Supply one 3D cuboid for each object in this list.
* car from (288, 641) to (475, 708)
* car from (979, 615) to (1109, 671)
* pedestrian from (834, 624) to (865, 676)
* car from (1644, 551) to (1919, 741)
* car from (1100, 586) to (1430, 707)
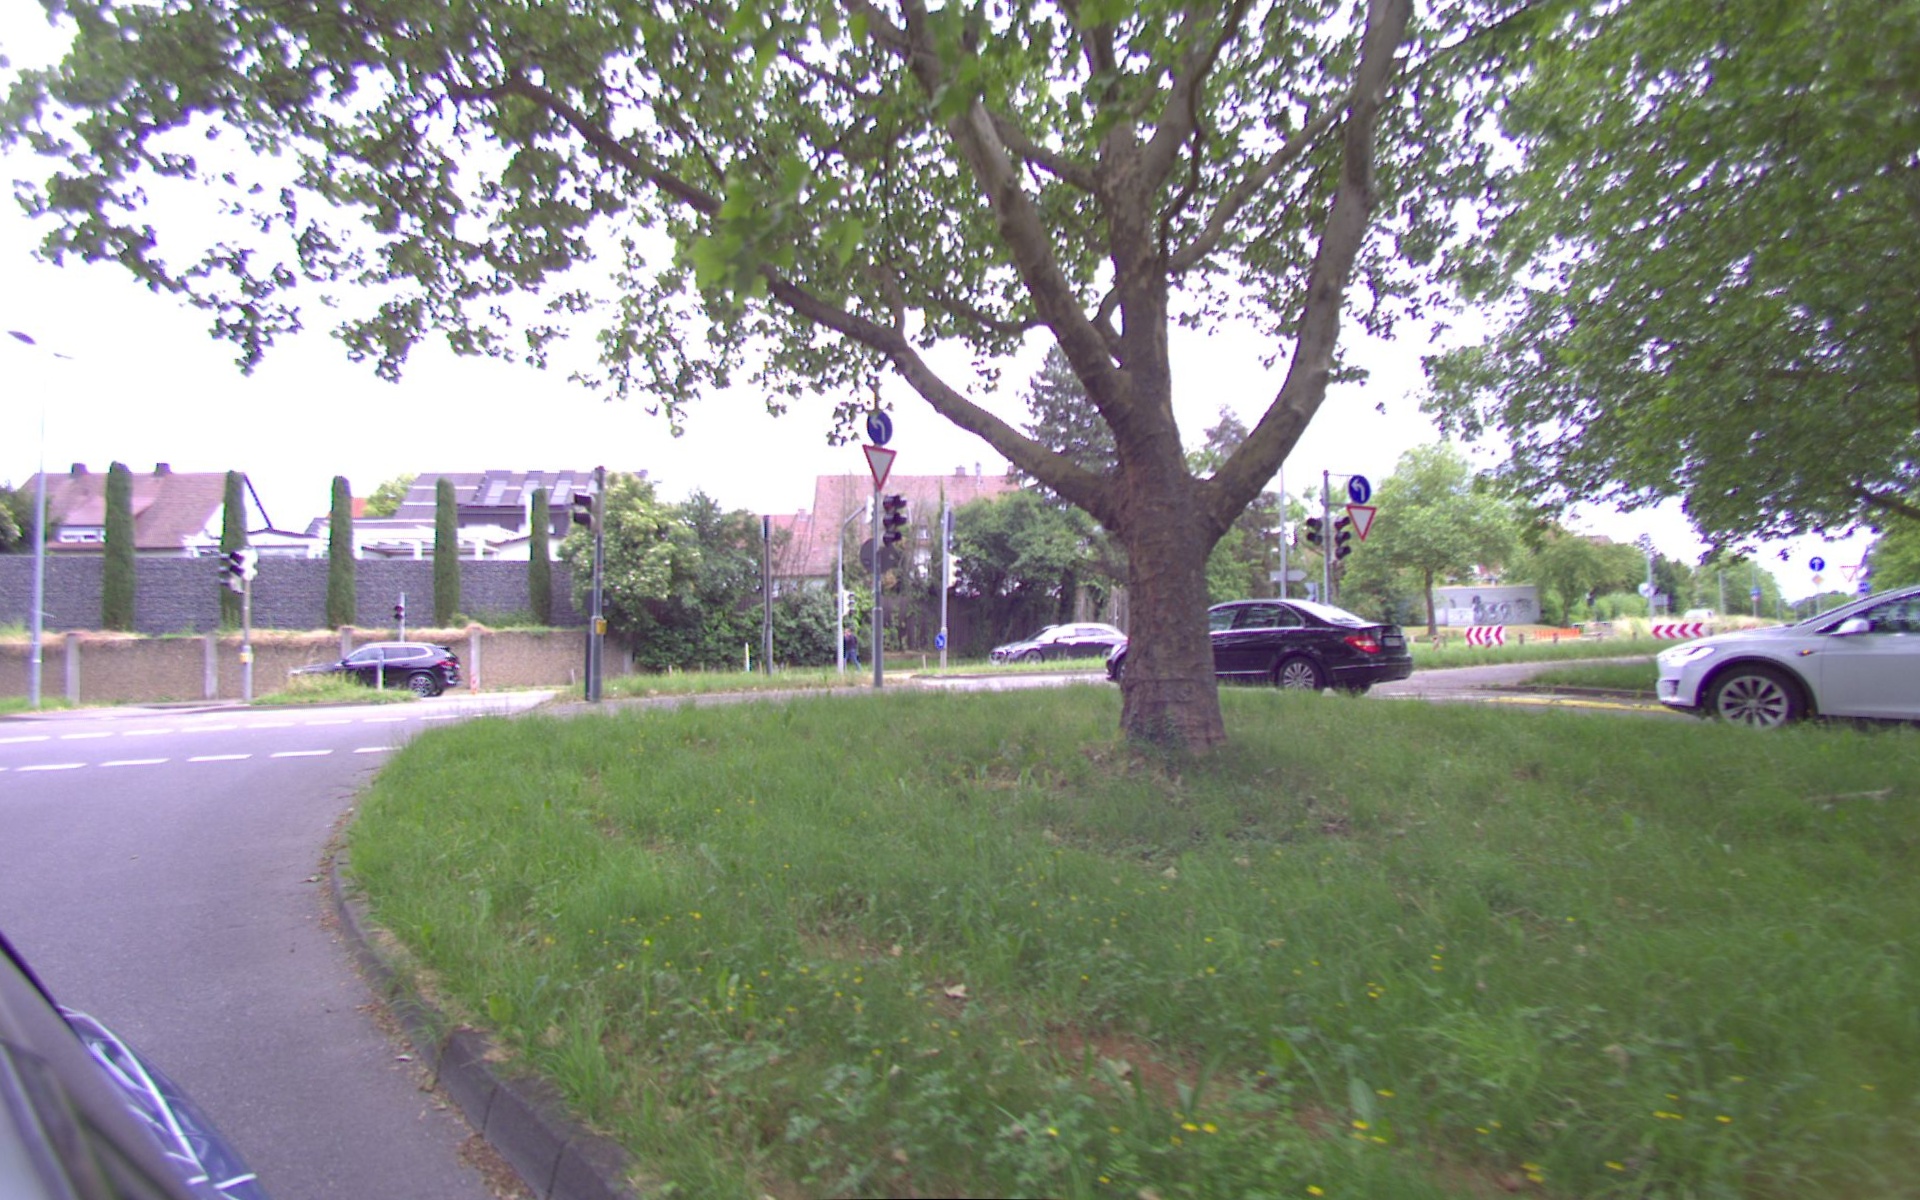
[{"bbox_3d":[-16.380,2.121,28.899,4.388,1.644,1.852,-1,-4,-21],"label":"car"},{"bbox_3d":[2.781,1.380,33.083,4.196,1.644,1.847,1,-5,-44],"label":"car"},{"bbox_3d":[-4.417,1.987,40.292,0.840,2.029,0.955,0,-3,-34],"label":"pedestrian"},{"bbox_3d":[9.381,0.389,9.195,1.829,1.671,4.911,1,-4,-43],"label":"car"},{"bbox_3d":[4.340,0.623,14.950,1.736,1.529,4.391,1,-1,-43],"label":"car"}]
